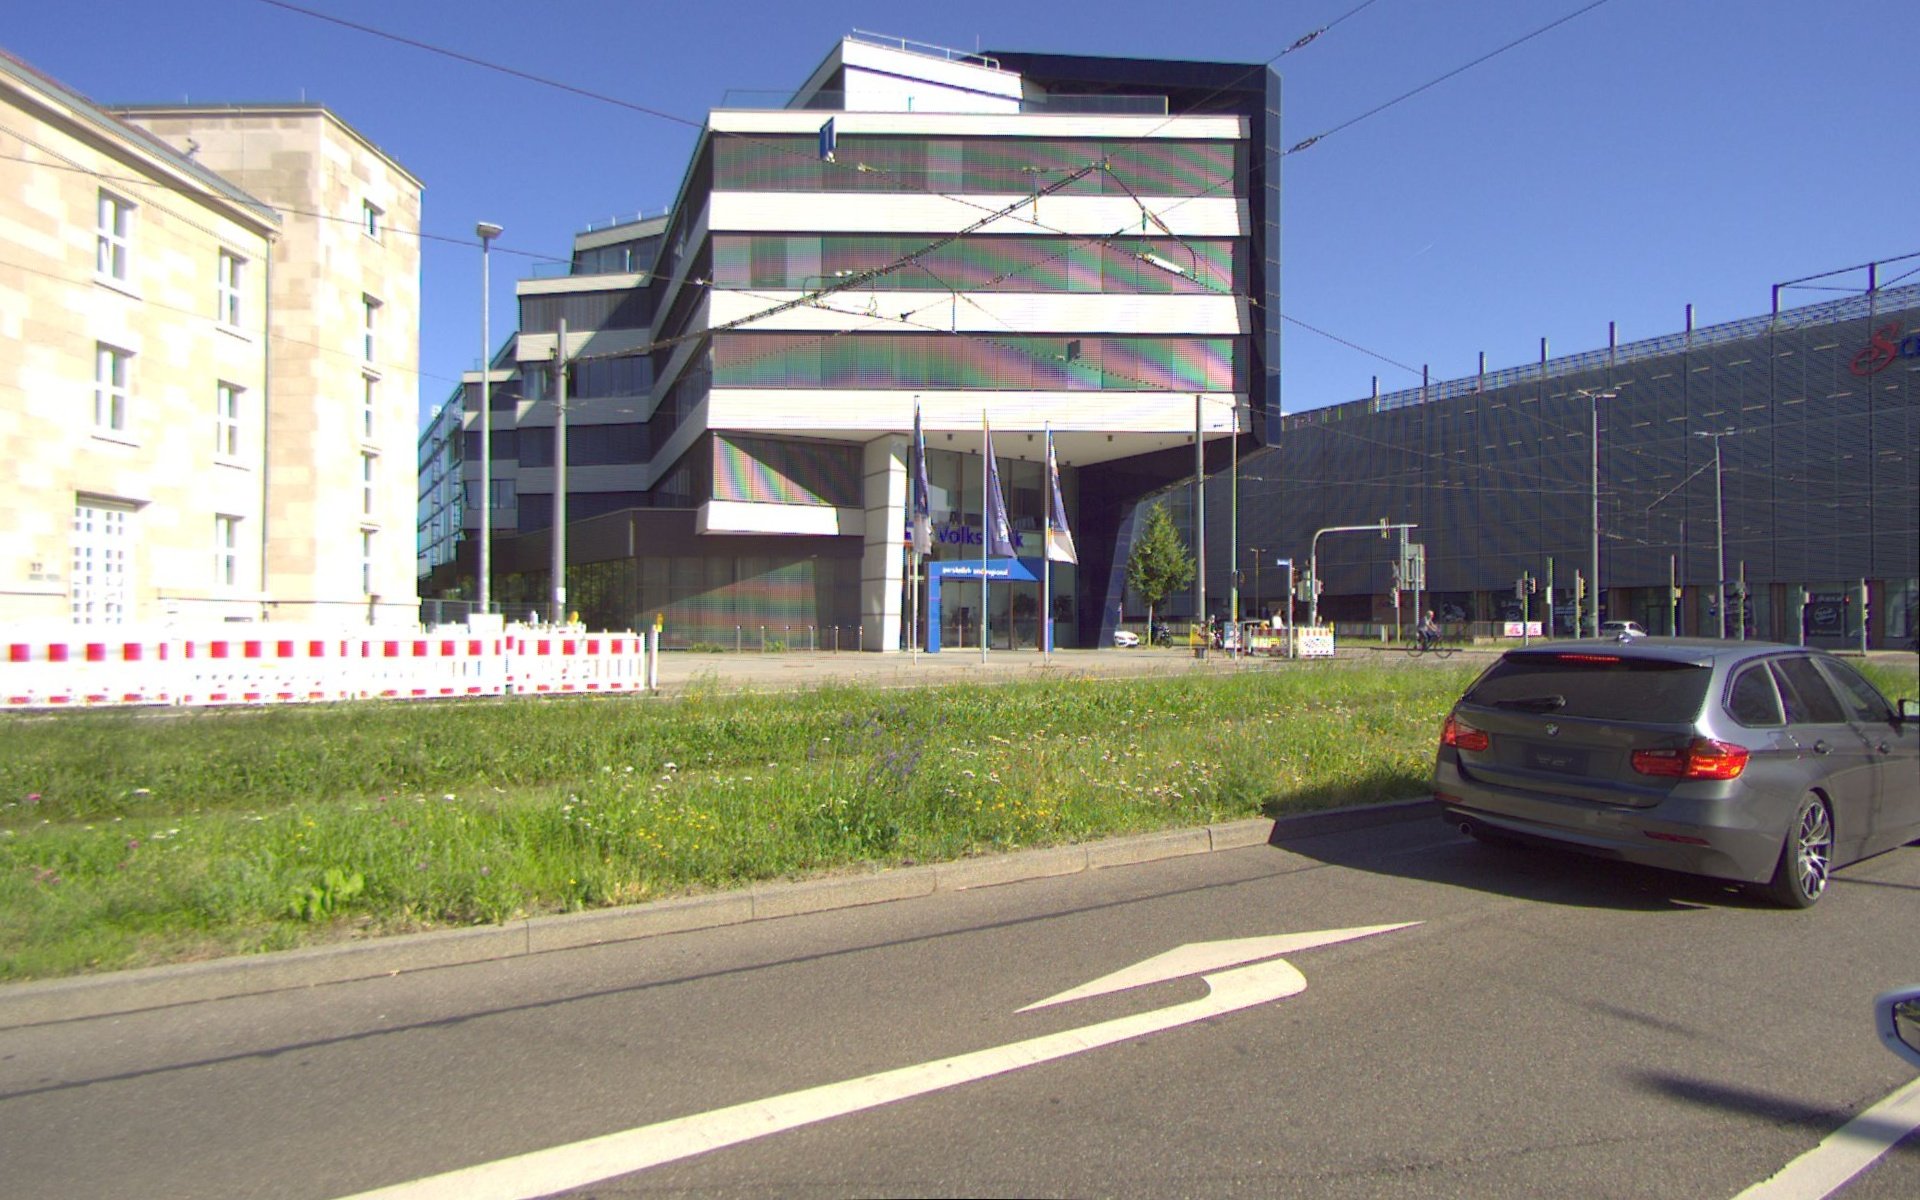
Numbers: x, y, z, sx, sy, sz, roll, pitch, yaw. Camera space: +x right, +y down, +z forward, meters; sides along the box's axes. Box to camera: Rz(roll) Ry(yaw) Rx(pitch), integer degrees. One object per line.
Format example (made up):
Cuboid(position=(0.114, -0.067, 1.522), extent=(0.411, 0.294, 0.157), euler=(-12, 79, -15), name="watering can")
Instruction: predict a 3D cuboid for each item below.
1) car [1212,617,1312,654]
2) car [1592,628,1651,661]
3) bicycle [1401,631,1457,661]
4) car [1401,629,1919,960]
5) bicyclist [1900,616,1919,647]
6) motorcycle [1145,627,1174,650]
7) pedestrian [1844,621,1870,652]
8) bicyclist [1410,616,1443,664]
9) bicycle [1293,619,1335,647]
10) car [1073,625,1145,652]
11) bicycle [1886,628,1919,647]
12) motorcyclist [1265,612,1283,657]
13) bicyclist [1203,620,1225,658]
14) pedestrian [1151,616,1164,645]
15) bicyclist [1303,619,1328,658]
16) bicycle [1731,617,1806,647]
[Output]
Cuboid(position=(14.667, 1.695, 48.935), extent=(1.823, 1.656, 4.454), euler=(-1, -1, -38), name="car")
Cuboid(position=(38.382, 2.574, 58.272), extent=(3.965, 1.818, 1.738), euler=(1, 0, -39), name="car")
Cuboid(position=(18.536, 1.805, 39.701), extent=(0.845, 1.131, 1.816), euler=(1, -1, -36), name="bicycle")
Cuboid(position=(5.010, 0.964, 6.618), extent=(4.420, 1.442, 1.723), euler=(1, 1, -34), name="car")
Cuboid(position=(56.346, 1.840, 59.333), extent=(0.828, 1.827, 0.817), euler=(0, -1, 12), name="bicyclist")
Cuboid(position=(11.568, 2.209, 58.301), extent=(1.583, 1.315, 0.600), euler=(0, -1, 23), name="motorcycle")
Cuboid(position=(55.007, 2.234, 61.600), extent=(0.804, 1.893, 0.906), euler=(0, -1, 6), name="pedestrian")
Cuboid(position=(18.484, 1.578, 39.786), extent=(0.846, 1.884, 0.896), euler=(1, -1, -36), name="bicyclist")
Cuboid(position=(15.435, 1.423, 43.801), extent=(0.728, 1.122, 1.563), euler=(1, 1, -39), name="bicycle")
Cuboid(position=(8.568, 2.178, 58.106), extent=(1.894, 1.483, 4.050), euler=(1, -1, -35), name="car")
Cuboid(position=(56.397, 2.224, 59.369), extent=(2.199, 1.085, 1.047), euler=(-1, -1, 13), name="bicycle")
Cuboid(position=(14.291, 1.576, 45.726), extent=(0.493, 2.040, 0.623), euler=(0, -1, -36), name="motorcyclist")
Cuboid(position=(12.296, 1.871, 48.650), extent=(0.757, 1.812, 0.757), euler=(1, -1, -40), name="bicyclist")
Cuboid(position=(11.484, 1.757, 58.357), extent=(0.675, 1.690, 0.369), euler=(0, -1, 21), name="pedestrian")
Cuboid(position=(15.425, 1.662, 43.565), extent=(0.684, 1.670, 0.776), euler=(1, -1, -38), name="bicyclist")
Cuboid(position=(57.008, 2.227, 70.891), extent=(1.317, 2.040, 3.960), euler=(0, 0, -36), name="bicycle")
